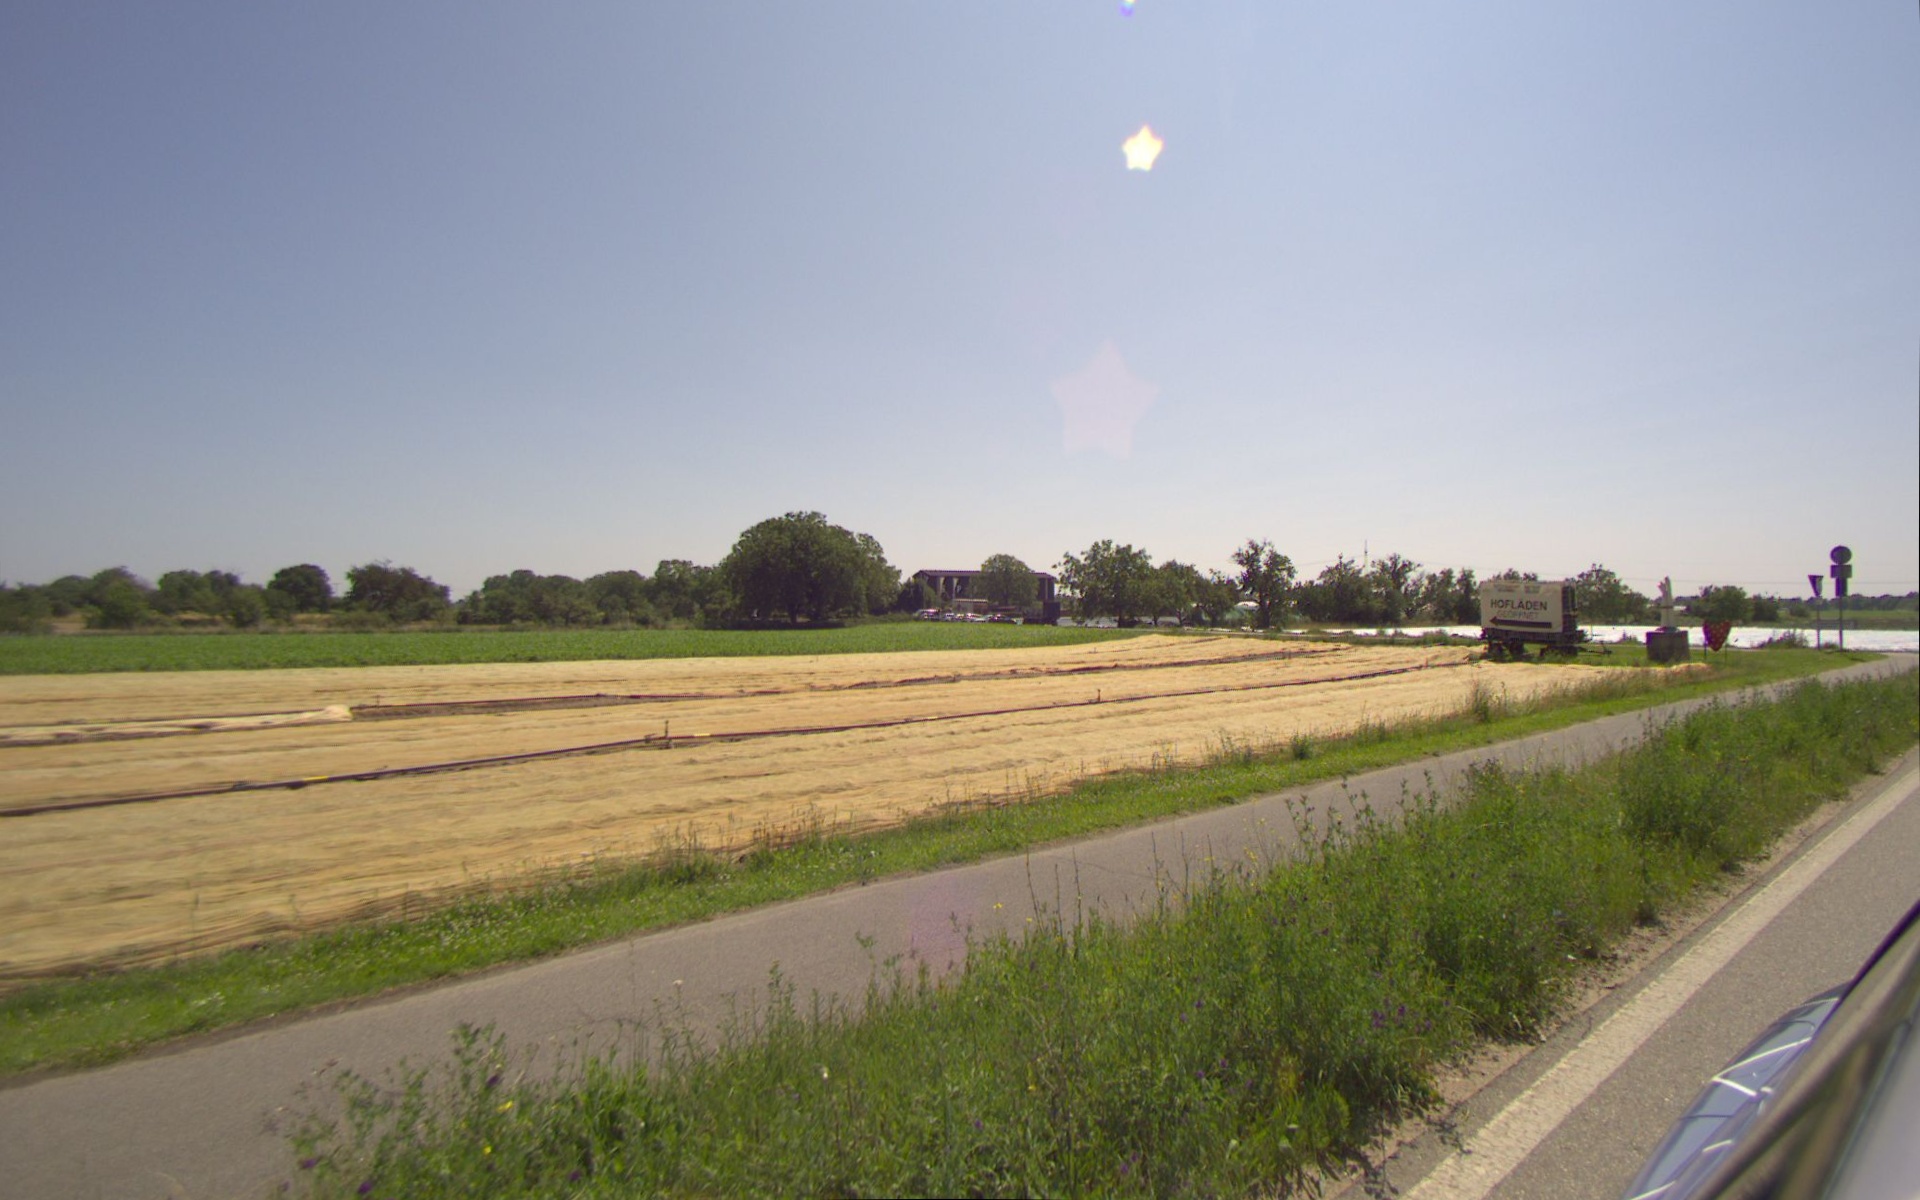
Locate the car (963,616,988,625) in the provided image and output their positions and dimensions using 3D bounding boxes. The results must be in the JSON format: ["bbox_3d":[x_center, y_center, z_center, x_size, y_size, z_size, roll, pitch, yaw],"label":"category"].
[{"bbox_3d":[2.128,2.792,138.130,3.213,1.213,1.298,0,-1,-28],"label":"car"}]

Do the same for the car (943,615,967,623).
[{"bbox_3d":[-0.722,2.768,146.578,3.213,1.213,1.298,0,-1,-28],"label":"car"}]

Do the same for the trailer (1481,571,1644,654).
[{"bbox_3d":[23.430,0.453,39.626,1.959,2.989,5.305,-1,1,-24],"label":"trailer"}]

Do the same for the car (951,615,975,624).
[{"bbox_3d":[0.438,2.775,143.921,3.213,1.213,1.298,0,-1,-28],"label":"car"}]

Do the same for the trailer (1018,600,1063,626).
[{"bbox_3d":[10.657,1.721,134.760,3.191,3.336,7.455,-1,-1,-18],"label":"trailer"}]

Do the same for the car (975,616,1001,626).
[{"bbox_3d":[3.779,2.800,135.823,3.213,1.213,1.298,0,-1,-28],"label":"car"}]

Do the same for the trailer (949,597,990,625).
[{"bbox_3d":[1.515,1.800,161.423,3.095,4.275,7.445,0,-1,-31],"label":"trailer"}]
